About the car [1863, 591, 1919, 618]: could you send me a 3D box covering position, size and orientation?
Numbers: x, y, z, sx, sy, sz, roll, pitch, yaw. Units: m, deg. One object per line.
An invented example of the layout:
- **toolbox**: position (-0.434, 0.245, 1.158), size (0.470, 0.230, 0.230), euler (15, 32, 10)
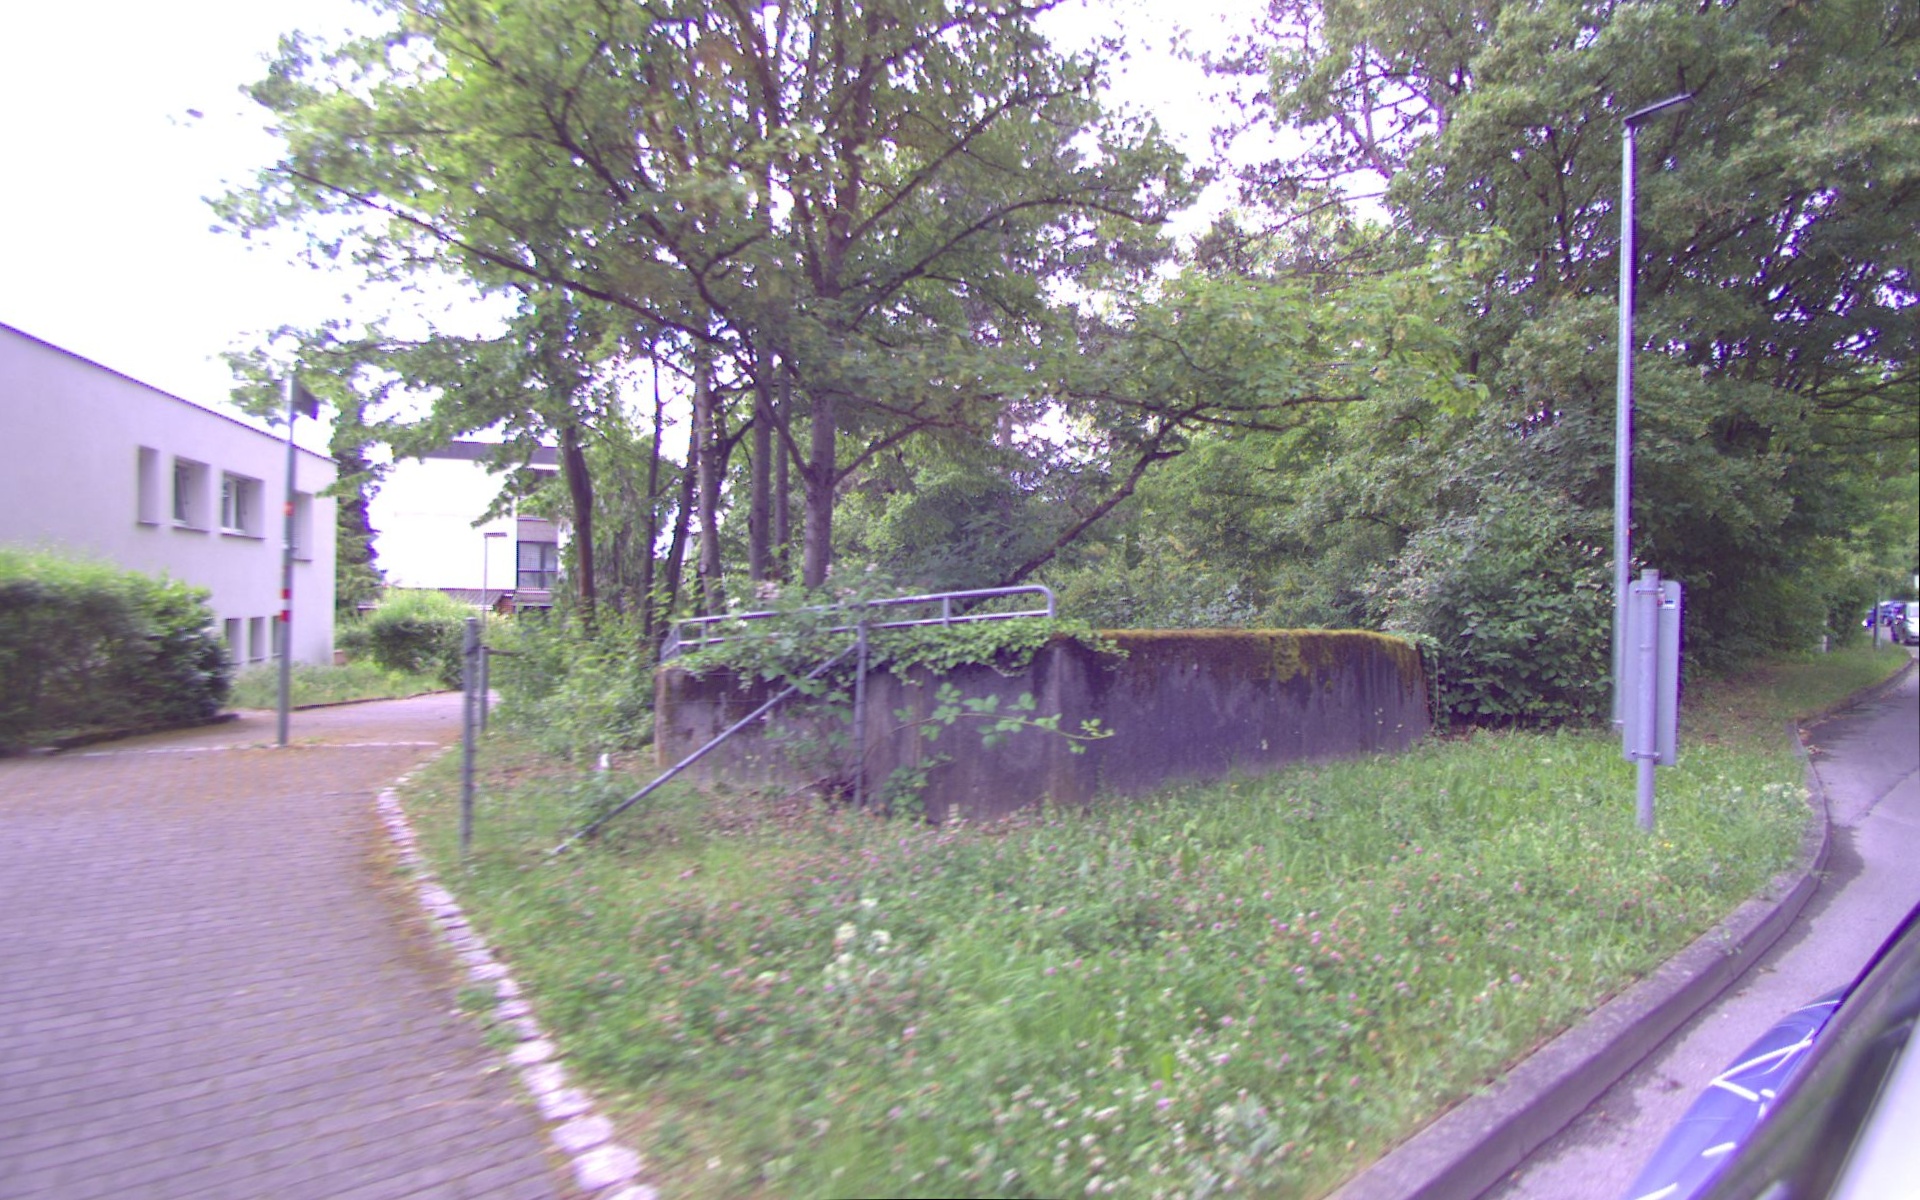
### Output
- **car**: position (54.778, 0.235, 59.019), size (1.831, 1.511, 3.972), euler (-1, 0, 21)

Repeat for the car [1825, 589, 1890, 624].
- **car**: position (46.973, 0.336, 53.040), size (1.986, 1.693, 3.951), euler (-2, 0, 35)

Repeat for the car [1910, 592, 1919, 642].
- **car**: position (36.257, 0.581, 37.117), size (1.993, 1.715, 3.938), euler (-2, 0, 44)
